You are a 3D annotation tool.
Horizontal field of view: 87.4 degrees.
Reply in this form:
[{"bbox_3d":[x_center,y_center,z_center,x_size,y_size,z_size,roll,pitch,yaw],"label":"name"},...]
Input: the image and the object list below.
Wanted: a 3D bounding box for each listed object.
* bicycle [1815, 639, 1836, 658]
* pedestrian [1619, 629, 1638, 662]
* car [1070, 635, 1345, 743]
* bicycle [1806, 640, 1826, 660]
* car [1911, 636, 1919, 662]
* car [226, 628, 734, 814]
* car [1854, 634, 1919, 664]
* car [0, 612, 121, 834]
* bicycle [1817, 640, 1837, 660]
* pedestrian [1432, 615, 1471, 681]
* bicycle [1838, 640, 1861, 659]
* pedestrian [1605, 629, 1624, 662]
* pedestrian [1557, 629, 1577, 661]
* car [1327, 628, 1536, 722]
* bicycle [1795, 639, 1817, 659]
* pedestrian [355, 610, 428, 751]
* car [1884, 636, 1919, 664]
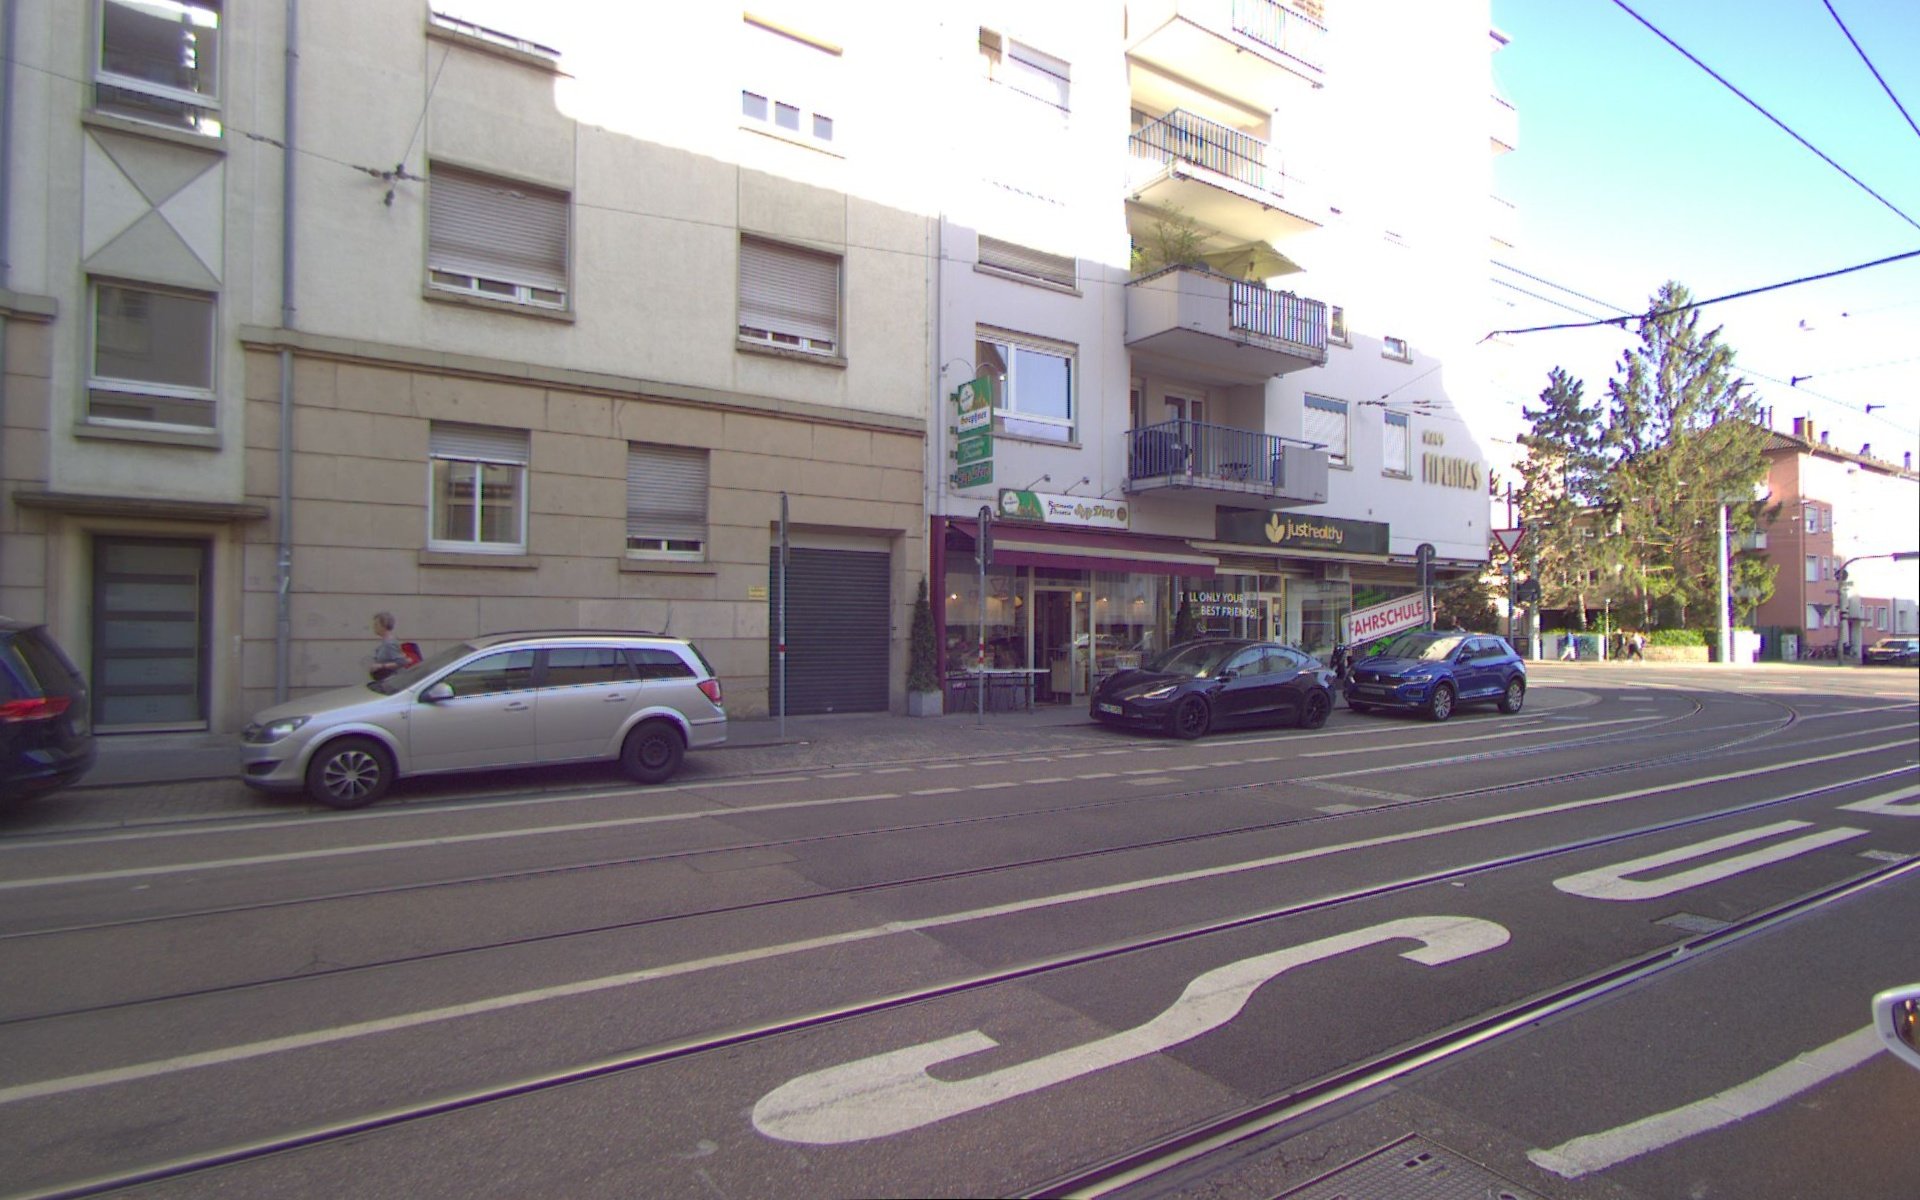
[{"bbox_3d":[50.747,2.858,58.885,1.892,1.097,0.533,1,-2,-37],"label":"bicycle"},{"bbox_3d":[35.061,2.367,52.663,0.798,1.725,0.604,-1,-2,37],"label":"pedestrian"},{"bbox_3d":[4.023,1.317,16.039,4.442,1.422,1.714,1,1,-34],"label":"car"},{"bbox_3d":[47.185,2.732,55.344,1.895,1.097,0.532,2,-2,-41],"label":"bicycle"},{"bbox_3d":[58.134,2.893,59.456,3.961,1.539,1.938,1,-2,-36],"label":"car"},{"bbox_3d":[-4.696,1.052,10.210,4.343,1.497,1.785,1,-1,-34],"label":"car"},{"bbox_3d":[49.732,2.613,53.787,3.961,1.539,1.938,1,-2,-36],"label":"car"},{"bbox_3d":[-8.983,0.883,7.188,4.343,1.620,1.785,1,-1,-34],"label":"car"},{"bbox_3d":[47.612,2.744,55.169,1.895,1.097,0.532,2,-2,-41],"label":"bicycle"},{"bbox_3d":[14.020,1.353,28.671,0.707,1.859,0.771,0,-1,-3],"label":"pedestrian"},{"bbox_3d":[53.164,2.935,60.030,1.892,1.097,0.605,1,-2,-37],"label":"bicycle"},{"bbox_3d":[34.930,2.409,53.602,0.798,1.725,0.632,-1,-2,37],"label":"pedestrian"},{"bbox_3d":[33.544,2.471,55.511,0.800,1.725,0.676,-1,-2,44],"label":"pedestrian"},{"bbox_3d":[9.002,1.346,19.083,4.072,1.525,1.714,1,1,-34],"label":"car"},{"bbox_3d":[46.889,2.722,55.636,1.895,1.097,0.634,2,-2,-41],"label":"bicycle"},{"bbox_3d":[-6.556,0.910,11.584,0.686,1.562,0.565,1,-2,-32],"label":"pedestrian"},{"bbox_3d":[54.280,2.837,57.017,4.006,1.539,1.938,1,-2,-36],"label":"car"}]
